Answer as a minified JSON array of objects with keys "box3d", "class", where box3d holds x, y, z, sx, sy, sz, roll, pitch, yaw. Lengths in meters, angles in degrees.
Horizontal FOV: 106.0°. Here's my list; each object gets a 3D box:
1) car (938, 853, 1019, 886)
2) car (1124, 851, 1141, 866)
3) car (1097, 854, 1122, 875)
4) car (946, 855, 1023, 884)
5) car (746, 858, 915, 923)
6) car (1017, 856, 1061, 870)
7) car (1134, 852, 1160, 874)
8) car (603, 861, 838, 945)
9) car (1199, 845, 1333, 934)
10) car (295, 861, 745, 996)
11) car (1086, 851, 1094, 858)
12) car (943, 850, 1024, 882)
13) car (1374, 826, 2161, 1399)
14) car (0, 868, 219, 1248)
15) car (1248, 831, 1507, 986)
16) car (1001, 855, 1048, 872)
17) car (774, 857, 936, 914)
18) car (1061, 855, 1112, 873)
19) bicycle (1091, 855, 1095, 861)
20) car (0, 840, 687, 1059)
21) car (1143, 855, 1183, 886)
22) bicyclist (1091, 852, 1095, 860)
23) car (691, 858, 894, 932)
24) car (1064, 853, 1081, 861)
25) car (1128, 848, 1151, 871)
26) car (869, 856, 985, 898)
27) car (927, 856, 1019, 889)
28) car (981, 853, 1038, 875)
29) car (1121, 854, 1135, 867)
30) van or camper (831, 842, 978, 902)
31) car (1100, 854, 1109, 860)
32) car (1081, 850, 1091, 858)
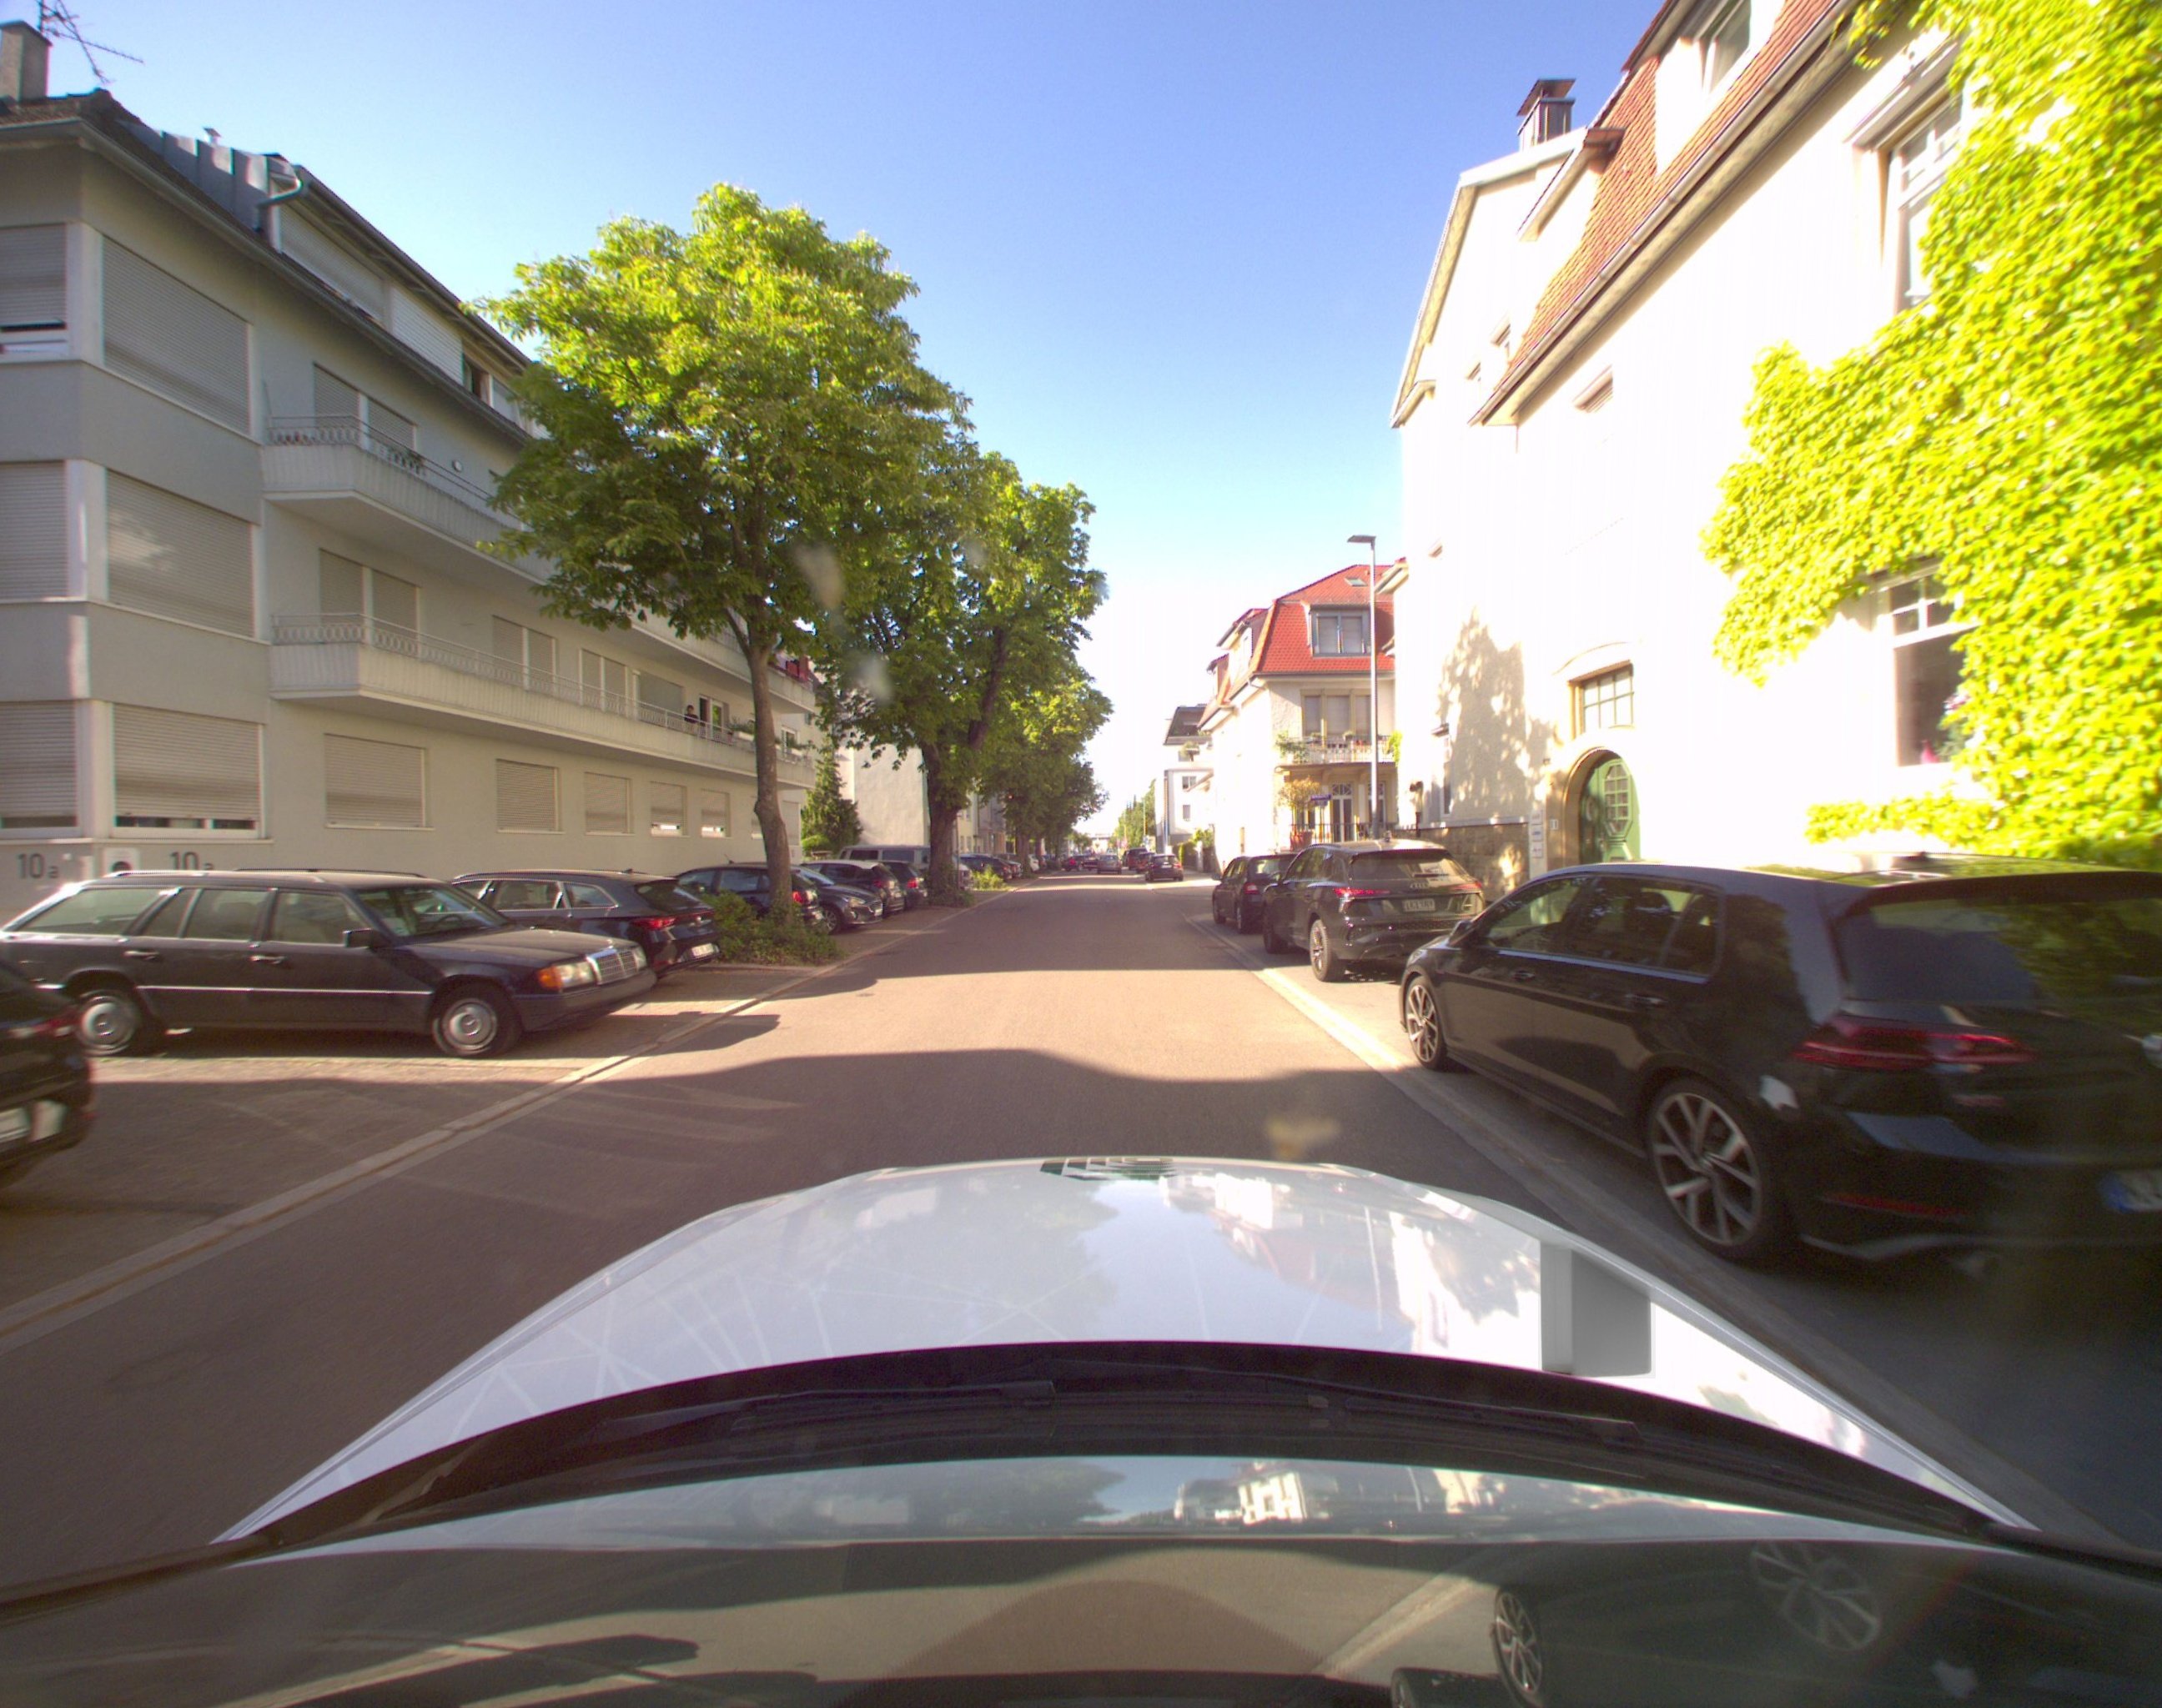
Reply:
[{"box3d":[-5.313,0.787,42.517,3.975,1.592,1.878,-1,0,-1],"class":"car"},{"box3d":[5.564,0.517,88.210,1.730,1.531,4.180,-1,0,2],"class":"car"},{"box3d":[2.082,0.753,59.459,1.720,1.420,3.963,-1,0,2],"class":"car"},{"box3d":[-5.251,0.855,44.708,3.973,1.468,1.697,-1,0,0],"class":"car"},{"box3d":[-5.985,0.843,19.748,3.464,1.458,1.798,1,-1,2],"class":"car"},{"box3d":[-4.336,0.917,85.002,4.460,1.479,1.868,0,-1,-1],"class":"car"},{"box3d":[4.747,0.639,58.894,1.586,1.480,3.248,-3,0,1],"class":"car"},{"box3d":[-6.417,0.866,14.819,3.471,1.420,1.708,1,-1,-4],"class":"car"},{"box3d":[3.600,0.670,16.529,1.658,1.520,3.998,-2,-1,-2],"class":"car"},{"box3d":[-6.519,0.826,9.817,4.174,1.441,1.713,0,0,0],"class":"car"},{"box3d":[2.256,0.092,204.523,1.781,1.532,4.000,0,0,0],"class":"car"},{"box3d":[-5.683,0.708,47.817,4.369,1.652,1.824,-2,1,2],"class":"car"},{"box3d":[3.120,0.685,4.218,1.703,1.436,4.193,-3,-1,1],"class":"car"},{"box3d":[-6.286,0.793,3.025,3.867,1.514,1.828,2,-1,-8],"class":"car"},{"box3d":[3.498,0.595,10.566,1.785,1.520,4.367,-2,-1,1],"class":"car"},{"box3d":[-4.994,0.817,72.197,3.974,1.421,1.771,0,1,0],"class":"car"},{"box3d":[-6.068,0.832,22.173,3.910,1.414,1.715,1,0,-1],"class":"car"},{"box3d":[0.468,0.870,71.140,4.215,1.448,1.696,2,-1,-30],"class":"car"},{"box3d":[2.500,0.786,165.774,0.717,1.079,1.891,-1,0,2],"class":"bicycle"},{"box3d":[-6.330,0.739,7.361,4.578,1.607,1.831,-1,0,-3],"class":"car"},{"box3d":[4.216,0.817,42.267,1.614,1.440,3.934,-4,0,0],"class":"car"},{"box3d":[2.483,0.343,165.643,0.718,1.537,1.137,1,-1,2],"class":"bicyclist"},{"box3d":[-6.009,0.827,17.240,3.628,1.463,1.712,1,-1,3],"class":"car"},{"box3d":[-1.851,0.657,175.791,3.488,1.533,1.642,-1,0,-6],"class":"car"},{"box3d":[5.124,0.511,71.607,1.864,1.905,5.200,-2,-1,3],"class":"car"},{"box3d":[-5.714,0.840,30.496,3.929,1.498,1.664,0,1,3],"class":"car"},{"box3d":[-5.227,0.889,39.813,4.173,1.498,1.861,-1,0,0],"class":"car"},{"box3d":[-5.209,0.722,59.818,4.009,1.485,1.807,1,0,0],"class":"car"},{"box3d":[5.668,0.777,98.674,1.558,1.410,3.732,-5,-1,3],"class":"car"},{"box3d":[-5.875,0.593,27.574,4.481,1.915,1.964,-1,0,1],"class":"van or camper"},{"box3d":[5.274,0.596,183.352,1.718,1.330,3.996,-1,0,-3],"class":"car"},{"box3d":[1.085,0.087,181.006,1.868,1.728,3.996,-1,0,-3],"class":"car"}]
